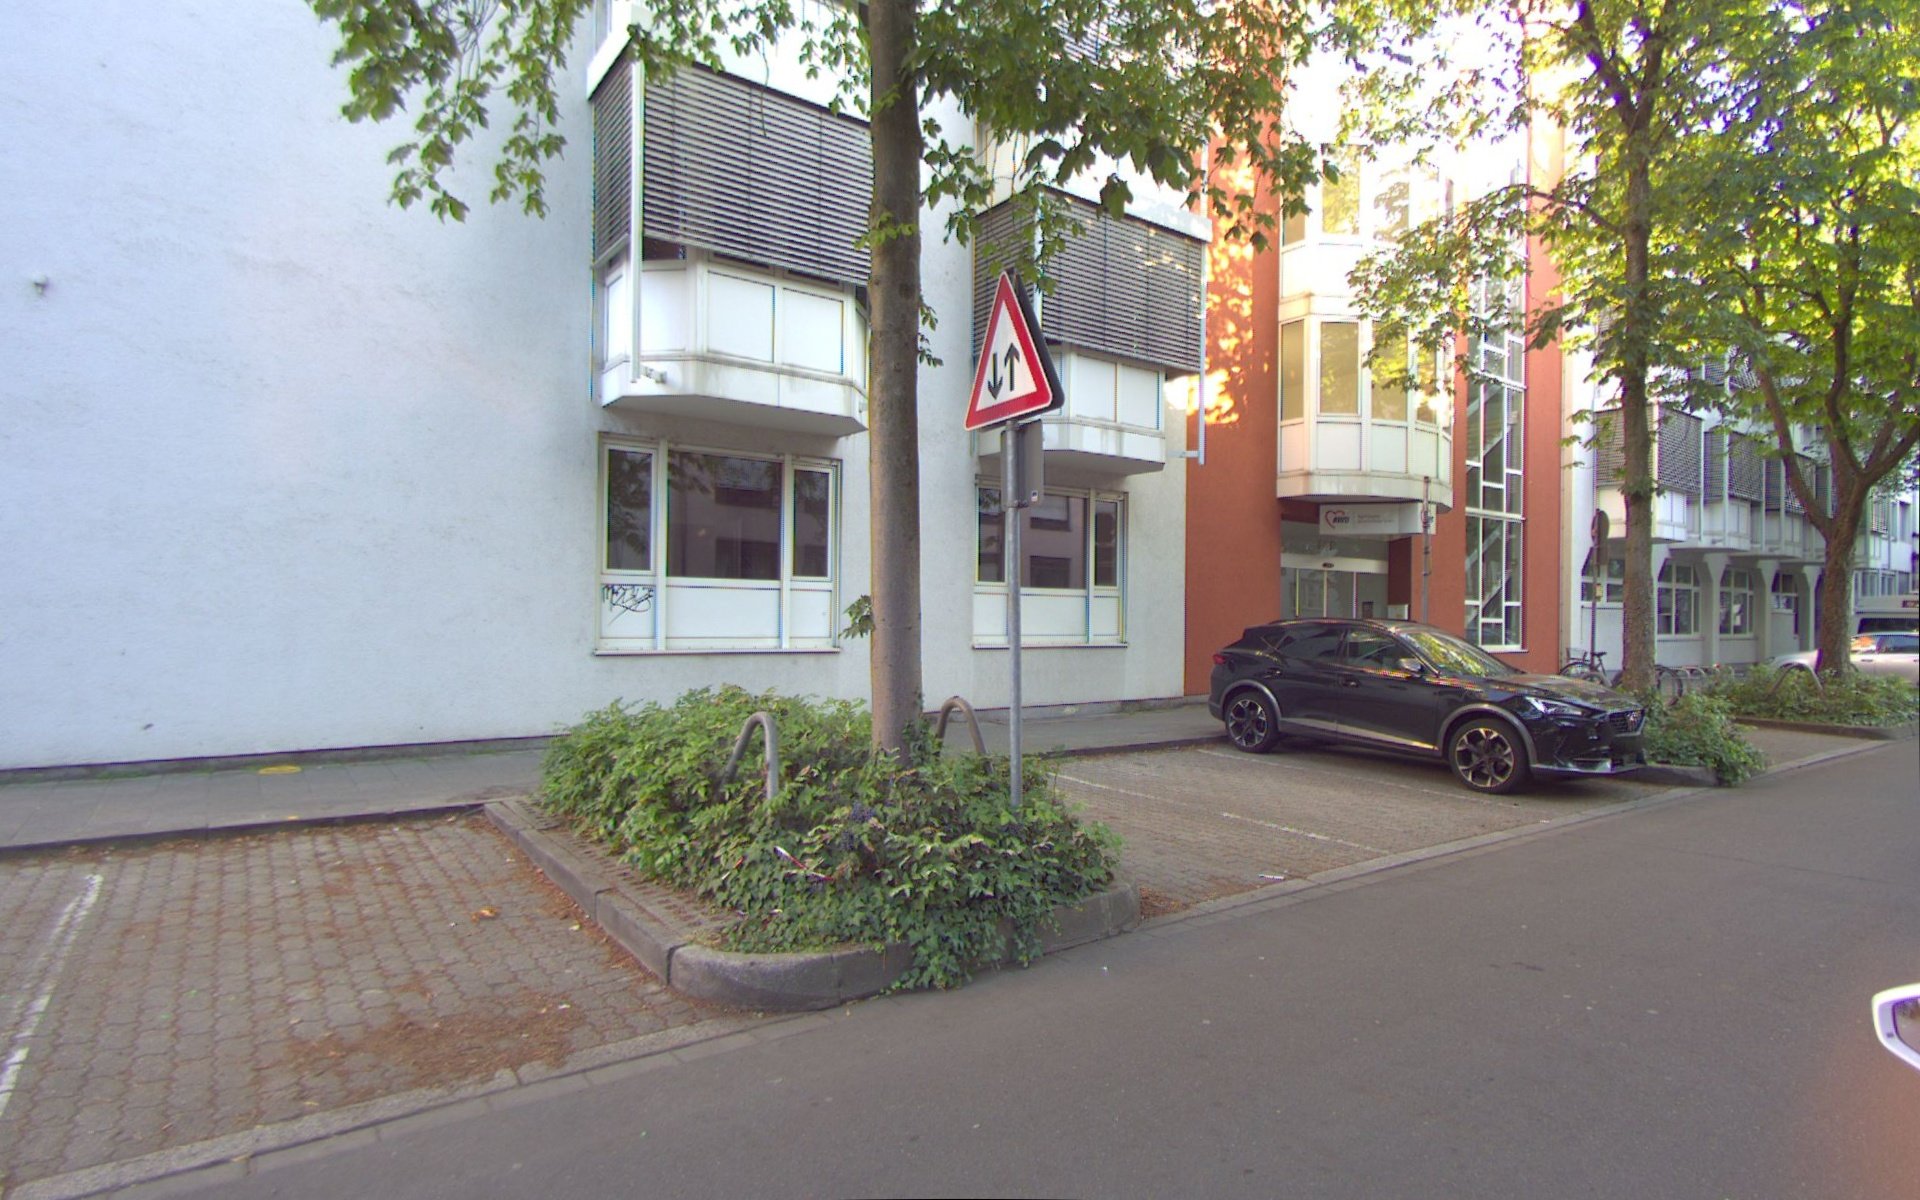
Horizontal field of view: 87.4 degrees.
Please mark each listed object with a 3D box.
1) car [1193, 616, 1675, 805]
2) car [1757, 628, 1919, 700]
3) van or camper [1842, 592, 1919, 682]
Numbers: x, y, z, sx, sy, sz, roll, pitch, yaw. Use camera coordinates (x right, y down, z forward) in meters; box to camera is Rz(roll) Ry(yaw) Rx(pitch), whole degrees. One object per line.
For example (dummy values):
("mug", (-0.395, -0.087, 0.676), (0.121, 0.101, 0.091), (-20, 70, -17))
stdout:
("car", (4.713, 0.960, 10.610), (1.768, 1.537, 4.325), (1, -1, -35))
("car", (21.158, 1.449, 23.237), (1.767, 1.537, 3.942), (1, -1, -35))
("van or camper", (27.898, 1.038, 28.038), (1.981, 2.511, 4.632), (1, -1, -36))
